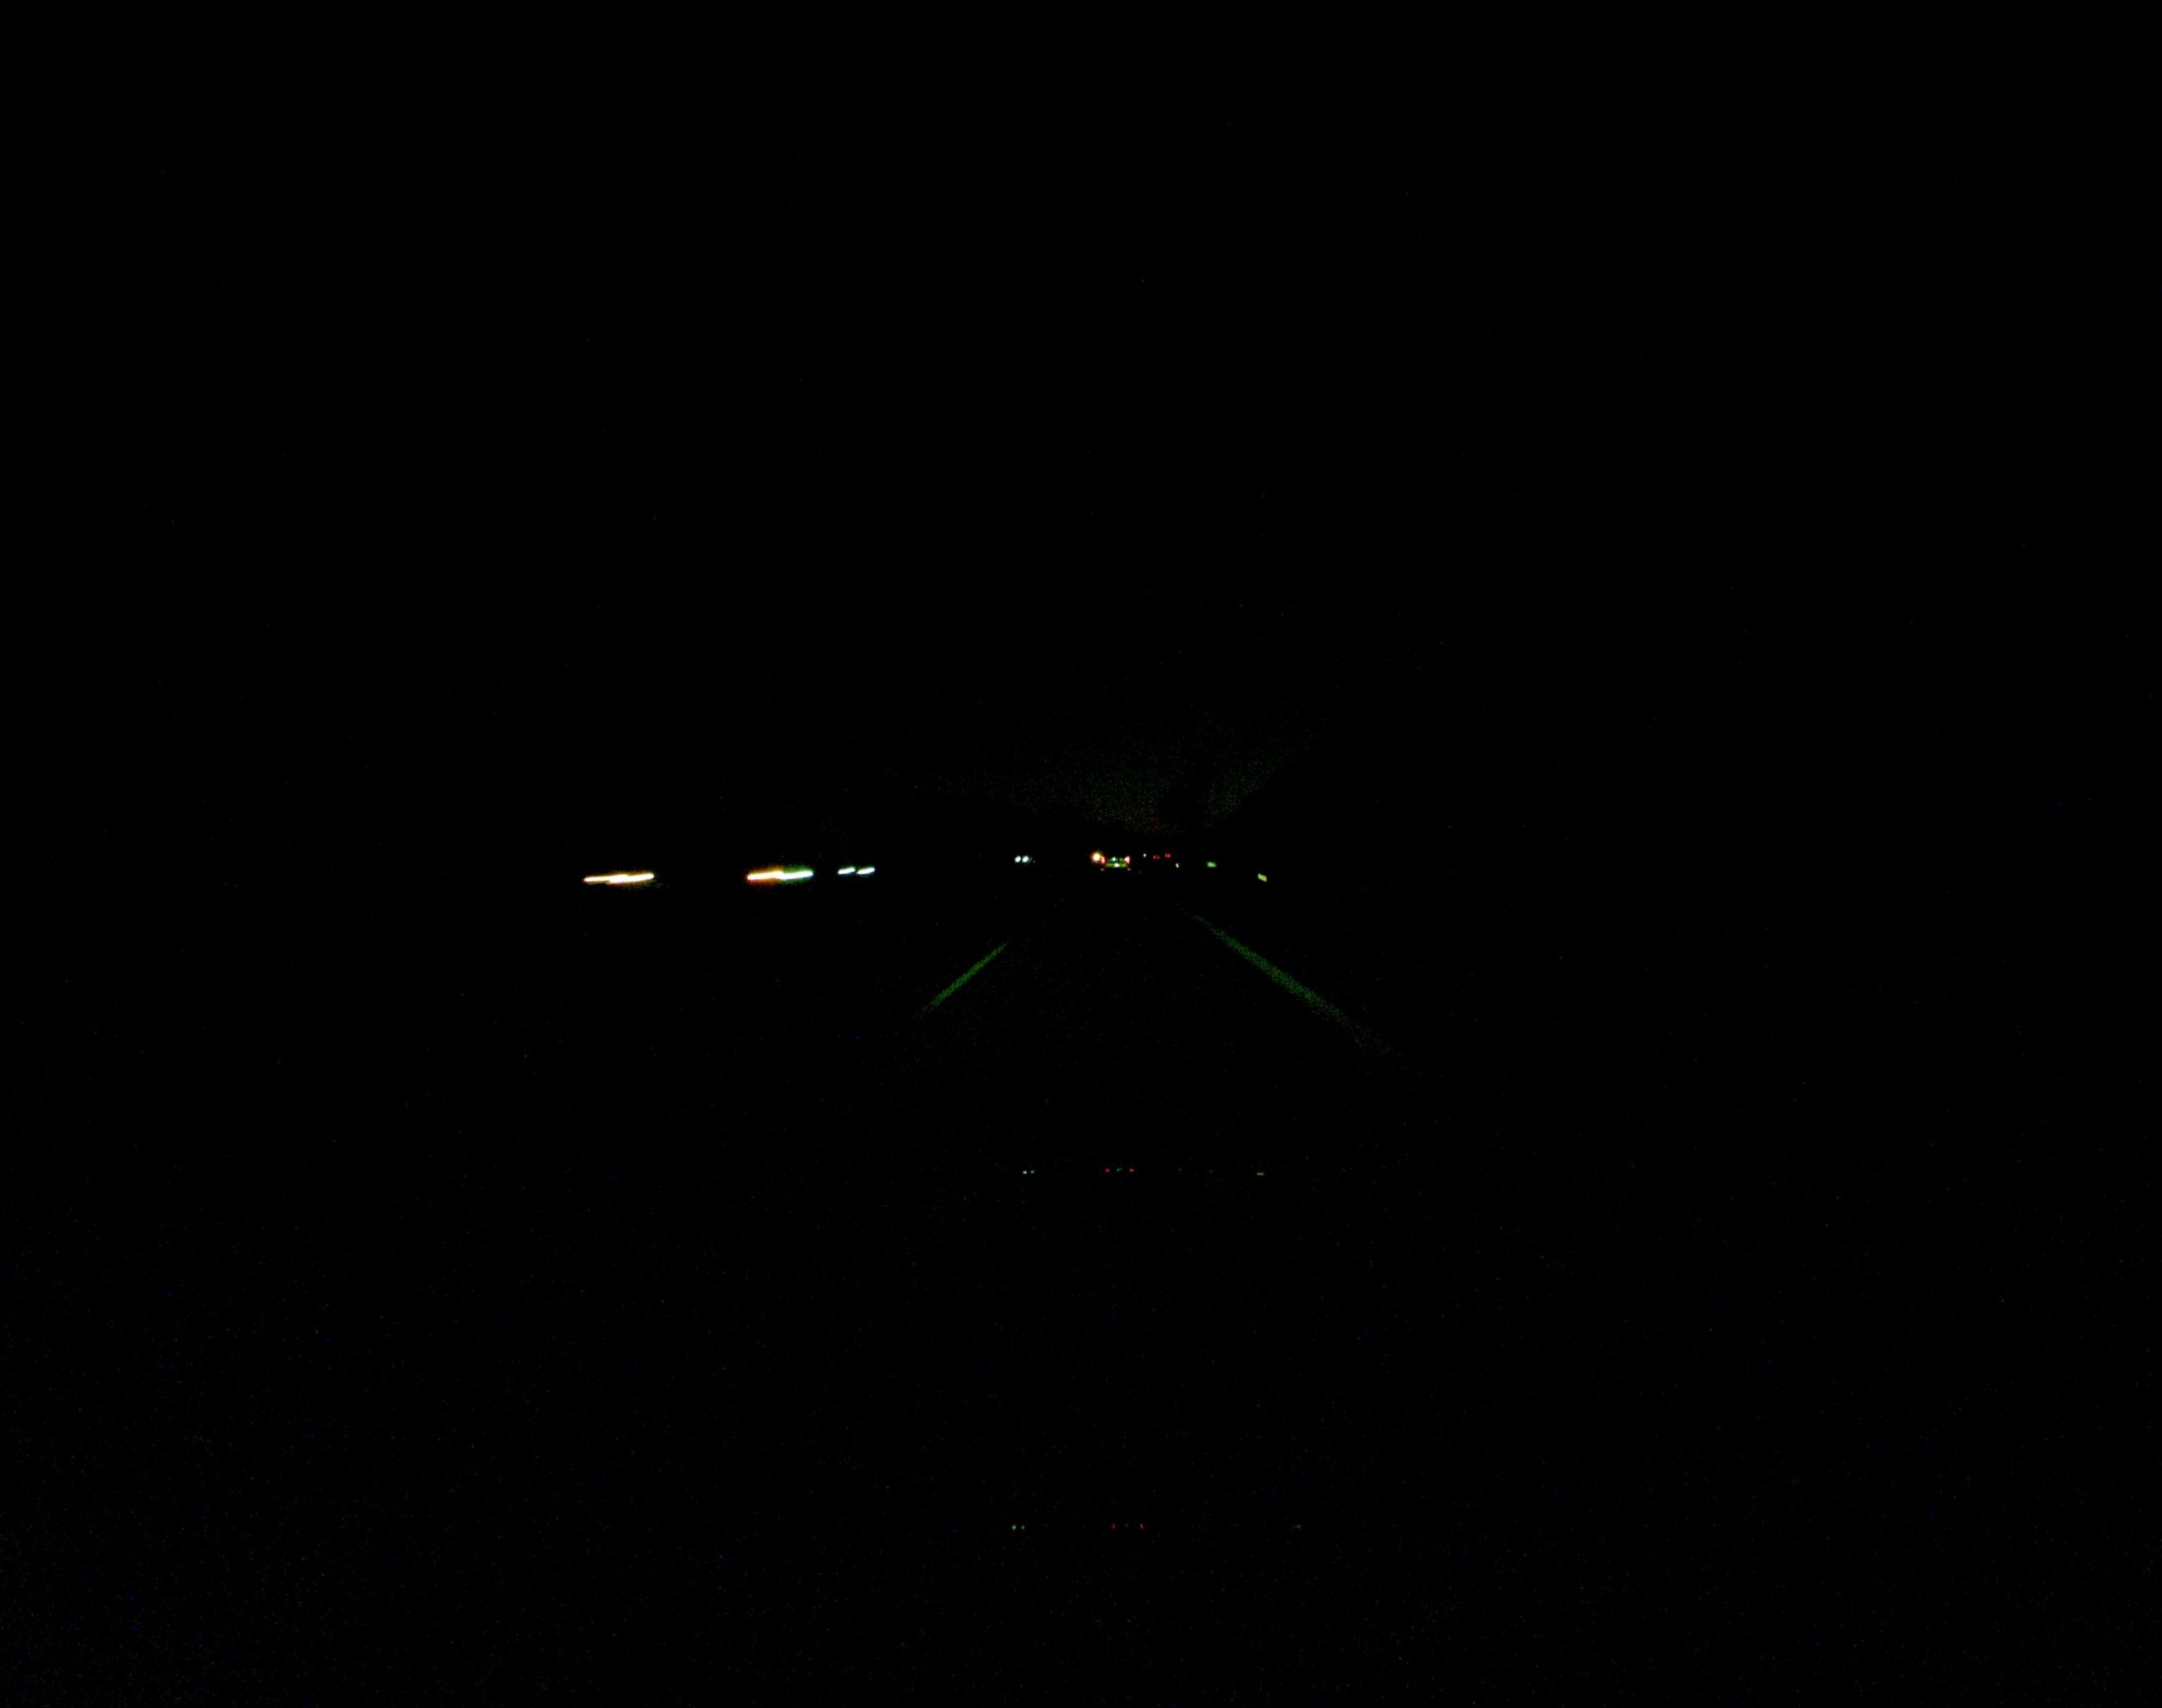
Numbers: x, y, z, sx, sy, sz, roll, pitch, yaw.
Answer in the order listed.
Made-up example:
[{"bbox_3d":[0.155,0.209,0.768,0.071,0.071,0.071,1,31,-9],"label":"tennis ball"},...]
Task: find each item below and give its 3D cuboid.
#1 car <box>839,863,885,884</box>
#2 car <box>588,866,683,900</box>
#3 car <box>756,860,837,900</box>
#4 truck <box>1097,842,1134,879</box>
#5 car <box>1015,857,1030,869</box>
[{"bbox_3d":[-16.165,1.435,60.445,1.986,1.480,4.931,-1,-1,1],"label":"car"},{"bbox_3d":[-21.312,1.339,39.204,1.985,1.508,4.404,-1,-1,3],"label":"car"},{"bbox_3d":[-13.701,1.207,39.565,1.985,1.791,4.685,-1,-1,4],"label":"car"},{"bbox_3d":[2.614,0.530,63.071,2.620,2.624,8.687,-1,-1,2],"label":"truck"},{"bbox_3d":[-12.196,1.918,169.443,2.072,2.487,6.250,-1,-1,4],"label":"car"}]
